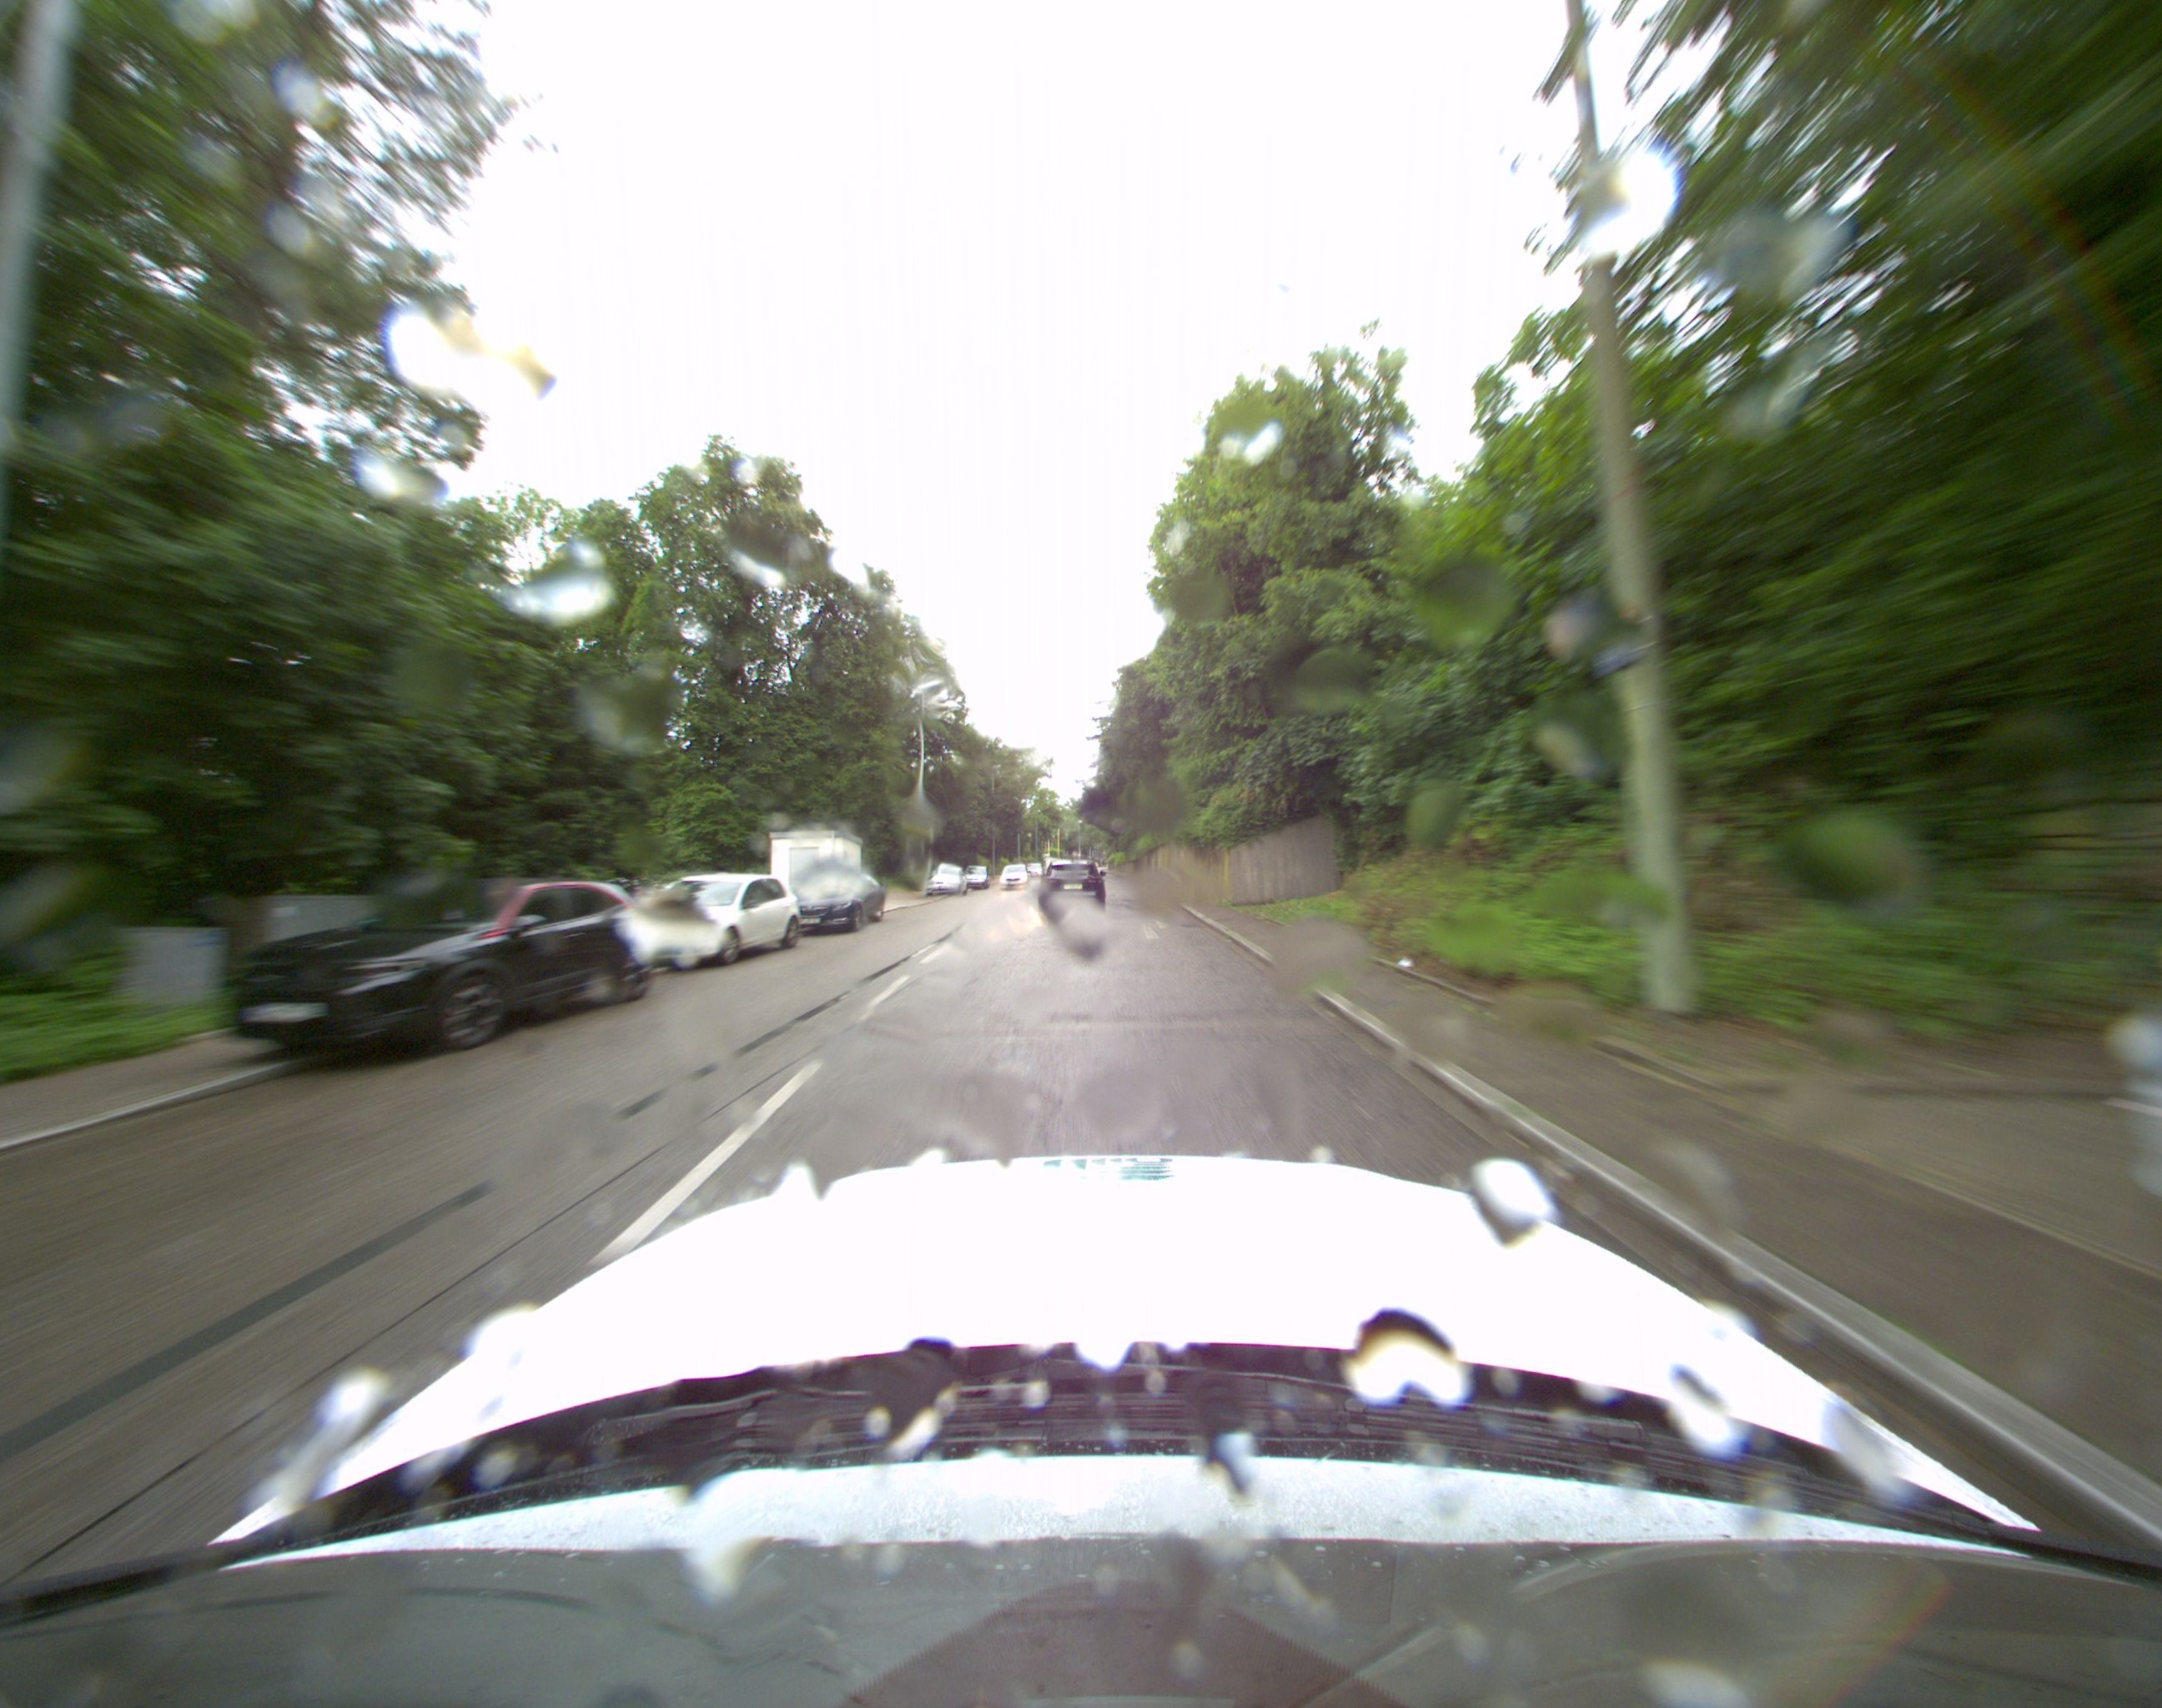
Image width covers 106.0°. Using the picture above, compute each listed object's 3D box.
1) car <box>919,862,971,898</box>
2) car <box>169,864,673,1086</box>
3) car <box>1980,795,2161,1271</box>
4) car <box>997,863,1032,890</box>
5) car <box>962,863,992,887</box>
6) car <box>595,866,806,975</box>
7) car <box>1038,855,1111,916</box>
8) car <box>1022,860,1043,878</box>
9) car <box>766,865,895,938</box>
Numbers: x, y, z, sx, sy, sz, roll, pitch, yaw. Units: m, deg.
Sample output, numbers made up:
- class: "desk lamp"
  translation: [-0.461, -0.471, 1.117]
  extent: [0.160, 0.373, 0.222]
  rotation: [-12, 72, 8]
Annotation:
- class: "car"
  translation: [-6.950, 1.285, 41.965]
  extent: [1.880, 1.611, 4.238]
  rotation: [-4, 0, 0]
- class: "car"
  translation: [-6.268, 0.983, 8.519]
  extent: [1.638, 1.604, 4.188]
  rotation: [-4, -1, 2]
- class: "car"
  translation: [4.091, 0.496, 0.581]
  extent: [1.731, 1.478, 4.743]
  rotation: [-4, 0, 3]
- class: "car"
  translation: [-3.953, 1.325, 48.756]
  extent: [1.720, 1.435, 3.910]
  rotation: [-4, 0, -1]
- class: "car"
  translation: [-6.814, 1.342, 53.585]
  extent: [1.622, 1.499, 3.923]
  rotation: [0, 0, -3]
- class: "car"
  translation: [-6.608, 1.069, 14.725]
  extent: [1.649, 1.569, 4.151]
  rotation: [-3, 0, 2]
- class: "car"
  translation: [-0.206, 0.857, 23.874]
  extent: [1.922, 1.613, 3.998]
  rotation: [-1, 0, -1]
- class: "car"
  translation: [-4.413, 1.373, 74.535]
  extent: [1.756, 1.491, 3.997]
  rotation: [-3, 0, -2]
- class: "car"
  translation: [-6.386, 1.136, 21.388]
  extent: [1.854, 1.493, 4.753]
  rotation: [-5, 0, -1]
